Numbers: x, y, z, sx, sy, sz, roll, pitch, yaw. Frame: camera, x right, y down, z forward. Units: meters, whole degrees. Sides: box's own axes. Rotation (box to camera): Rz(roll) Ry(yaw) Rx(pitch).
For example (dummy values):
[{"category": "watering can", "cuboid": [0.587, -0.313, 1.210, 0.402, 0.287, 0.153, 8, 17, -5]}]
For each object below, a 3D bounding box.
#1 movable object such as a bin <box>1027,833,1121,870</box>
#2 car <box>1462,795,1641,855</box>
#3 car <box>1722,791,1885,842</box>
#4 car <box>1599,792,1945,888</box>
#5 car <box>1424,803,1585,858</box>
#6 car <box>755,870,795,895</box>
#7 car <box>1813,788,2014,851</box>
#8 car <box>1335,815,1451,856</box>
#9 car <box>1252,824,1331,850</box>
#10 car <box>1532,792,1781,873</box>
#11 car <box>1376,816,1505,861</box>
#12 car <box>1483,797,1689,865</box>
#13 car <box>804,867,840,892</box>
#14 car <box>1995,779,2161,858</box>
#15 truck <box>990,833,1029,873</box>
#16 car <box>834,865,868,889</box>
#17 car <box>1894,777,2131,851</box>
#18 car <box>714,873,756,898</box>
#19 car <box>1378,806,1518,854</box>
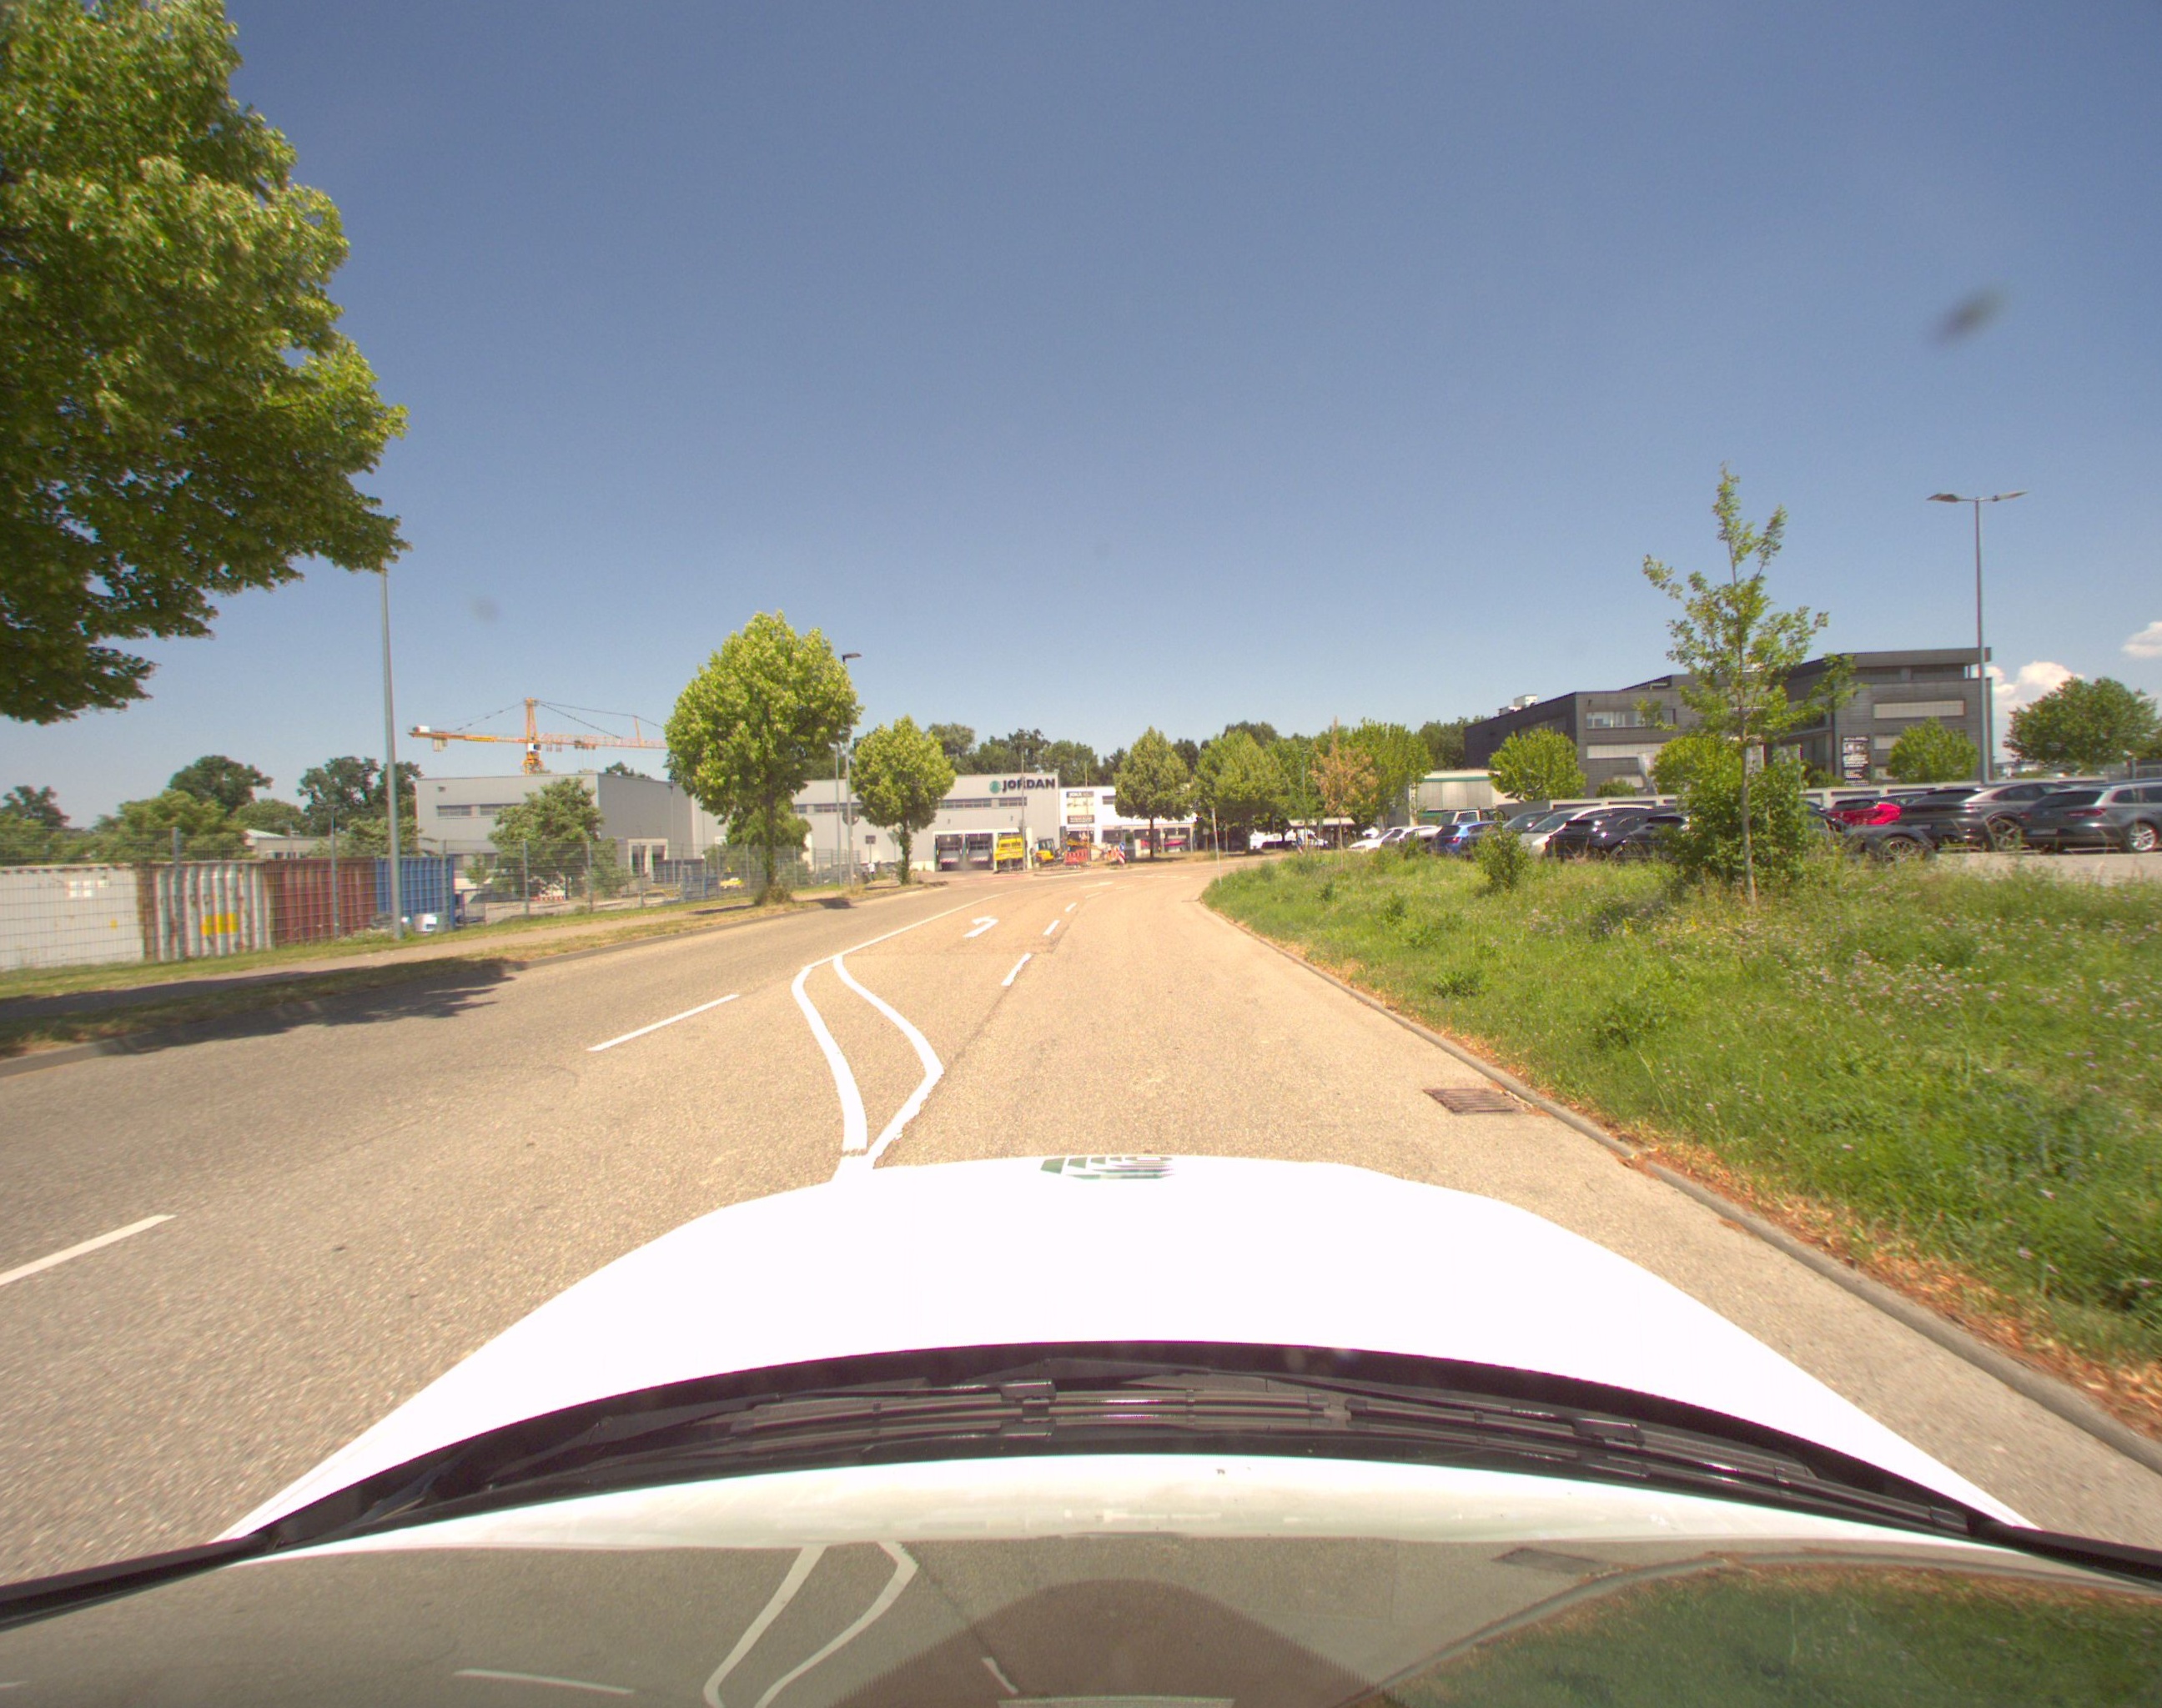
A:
[{"category": "movable object such as a bin", "cuboid": [-0.533, -0.251, 70.524, 7.481, 2.499, 3.677, -3, 4, 9]}, {"category": "car", "cuboid": [13.414, -0.851, 23.380, 4.152, 1.400, 1.768, -4, 4, -2]}, {"category": "car", "cuboid": [23.959, -1.274, 27.092, 3.977, 1.400, 1.768, -4, 4, -2]}, {"category": "car", "cuboid": [12.570, -0.299, 15.077, 4.684, 1.400, 1.924, -3, 4, 3]}, {"category": "car", "cuboid": [13.274, -0.772, 25.669, 4.152, 1.400, 1.768, -4, 4, -2]}, {"category": "car", "cuboid": [-25.706, 2.365, 68.585, 1.991, 1.551, 3.994, -4, 4, -5]}, {"category": "car", "cuboid": [23.266, -0.995, 22.854, 3.977, 1.461, 1.768, -4, 4, -2]}, {"category": "car", "cuboid": [12.978, -0.800, 33.994, 4.152, 1.400, 1.768, -4, 4, -2]}, {"category": "car", "cuboid": [20.257, -1.645, 78.634, 7.139, 2.088, 2.002, -3, 0, 4]}, {"category": "car", "cuboid": [12.213, -0.501, 17.453, 4.152, 1.400, 1.768, -4, 4, -2]}, {"category": "car", "cuboid": [13.714, -0.625, 31.205, 4.152, 1.400, 1.768, -4, 4, -2]}, {"category": "car", "cuboid": [12.684, -0.620, 20.597, 4.152, 1.400, 1.768, -4, 4, -2]}, {"category": "car", "cuboid": [-21.832, 2.113, 68.802, 1.991, 1.551, 3.994, -4, 4, -5]}, {"category": "car", "cuboid": [22.432, -0.806, 17.405, 3.977, 1.400, 1.768, -4, 4, -2]}, {"category": "truck", "cuboid": [-6.244, -0.169, 70.238, 2.936, 2.885, 5.797, -4, 4, -7]}, {"category": "car", "cuboid": [-19.423, 1.951, 69.013, 1.991, 1.551, 3.994, -4, 4, -5]}, {"category": "car", "cuboid": [22.880, -1.004, 20.114, 3.977, 1.489, 1.768, -4, 4, -2]}, {"category": "car", "cuboid": [-28.926, 2.584, 68.252, 1.991, 1.551, 3.994, -4, 4, -5]}, {"category": "car", "cuboid": [12.945, -0.873, 28.877, 4.152, 1.400, 1.768, -4, 4, -2]}]
